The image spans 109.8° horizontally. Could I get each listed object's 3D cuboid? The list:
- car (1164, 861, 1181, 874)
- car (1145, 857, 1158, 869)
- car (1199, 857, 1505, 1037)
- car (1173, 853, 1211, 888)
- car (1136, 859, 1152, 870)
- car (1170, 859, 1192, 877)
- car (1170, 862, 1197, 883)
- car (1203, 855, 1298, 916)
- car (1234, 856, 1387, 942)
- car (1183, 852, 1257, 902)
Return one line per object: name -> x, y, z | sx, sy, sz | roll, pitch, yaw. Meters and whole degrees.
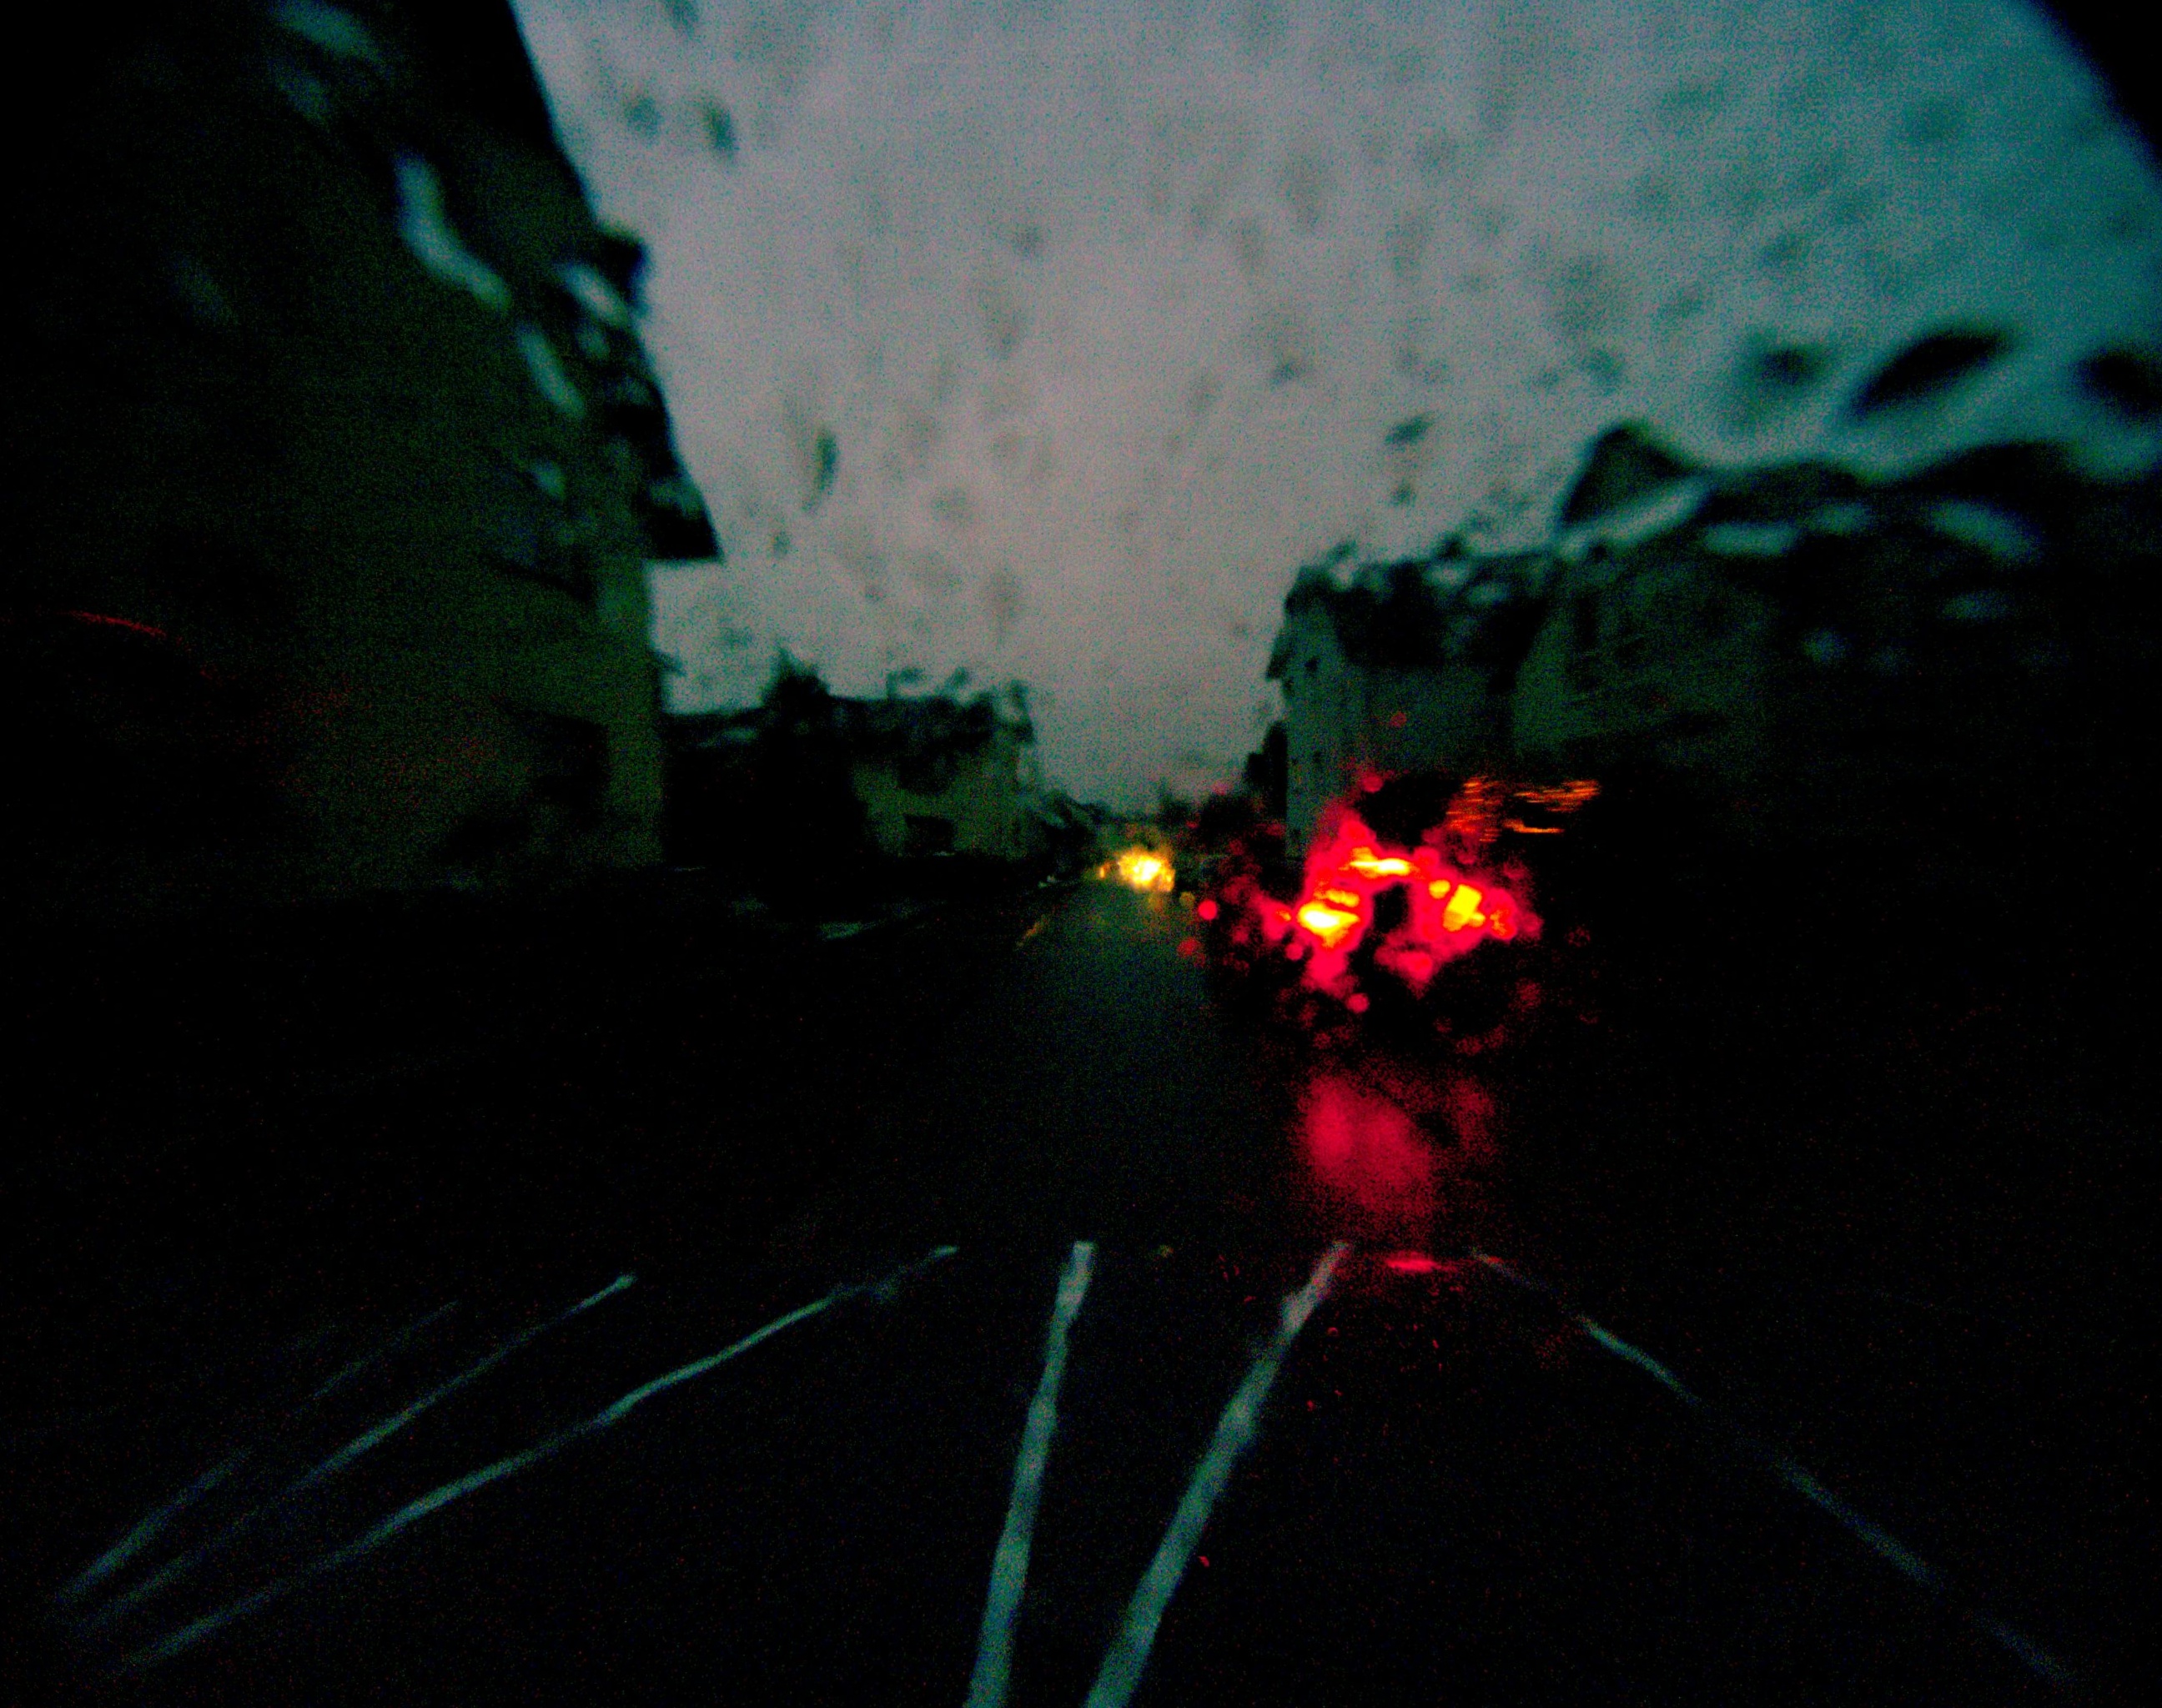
car -> 10.696, 1.534, 89.187 | 1.720, 1.403, 3.732 | -1, 0, 3
car -> 11.381, 1.457, 122.521 | 1.793, 1.763, 3.891 | -1, 0, 10
car -> 2.658, 0.800, 8.669 | 1.778, 1.487, 4.379 | -1, 0, -2
car -> 5.992, 0.878, 41.410 | 1.775, 1.781, 4.130 | -1, -1, 5
car -> 8.621, 1.427, 103.688 | 1.755, 1.487, 4.253 | -1, 0, 9
car -> 8.785, 1.217, 67.013 | 1.766, 1.543, 4.002 | 0, 0, 6
car -> 7.389, 1.303, 55.028 | 1.829, 1.457, 4.002 | 0, 0, 5
car -> 4.412, 0.759, 20.346 | 1.738, 1.428, 4.035 | -1, 0, 2
car -> 4.390, 0.778, 15.291 | 1.738, 1.435, 4.439 | -2, 0, 0
car -> 4.826, 0.756, 26.912 | 1.922, 1.615, 4.423 | -1, 0, 2
